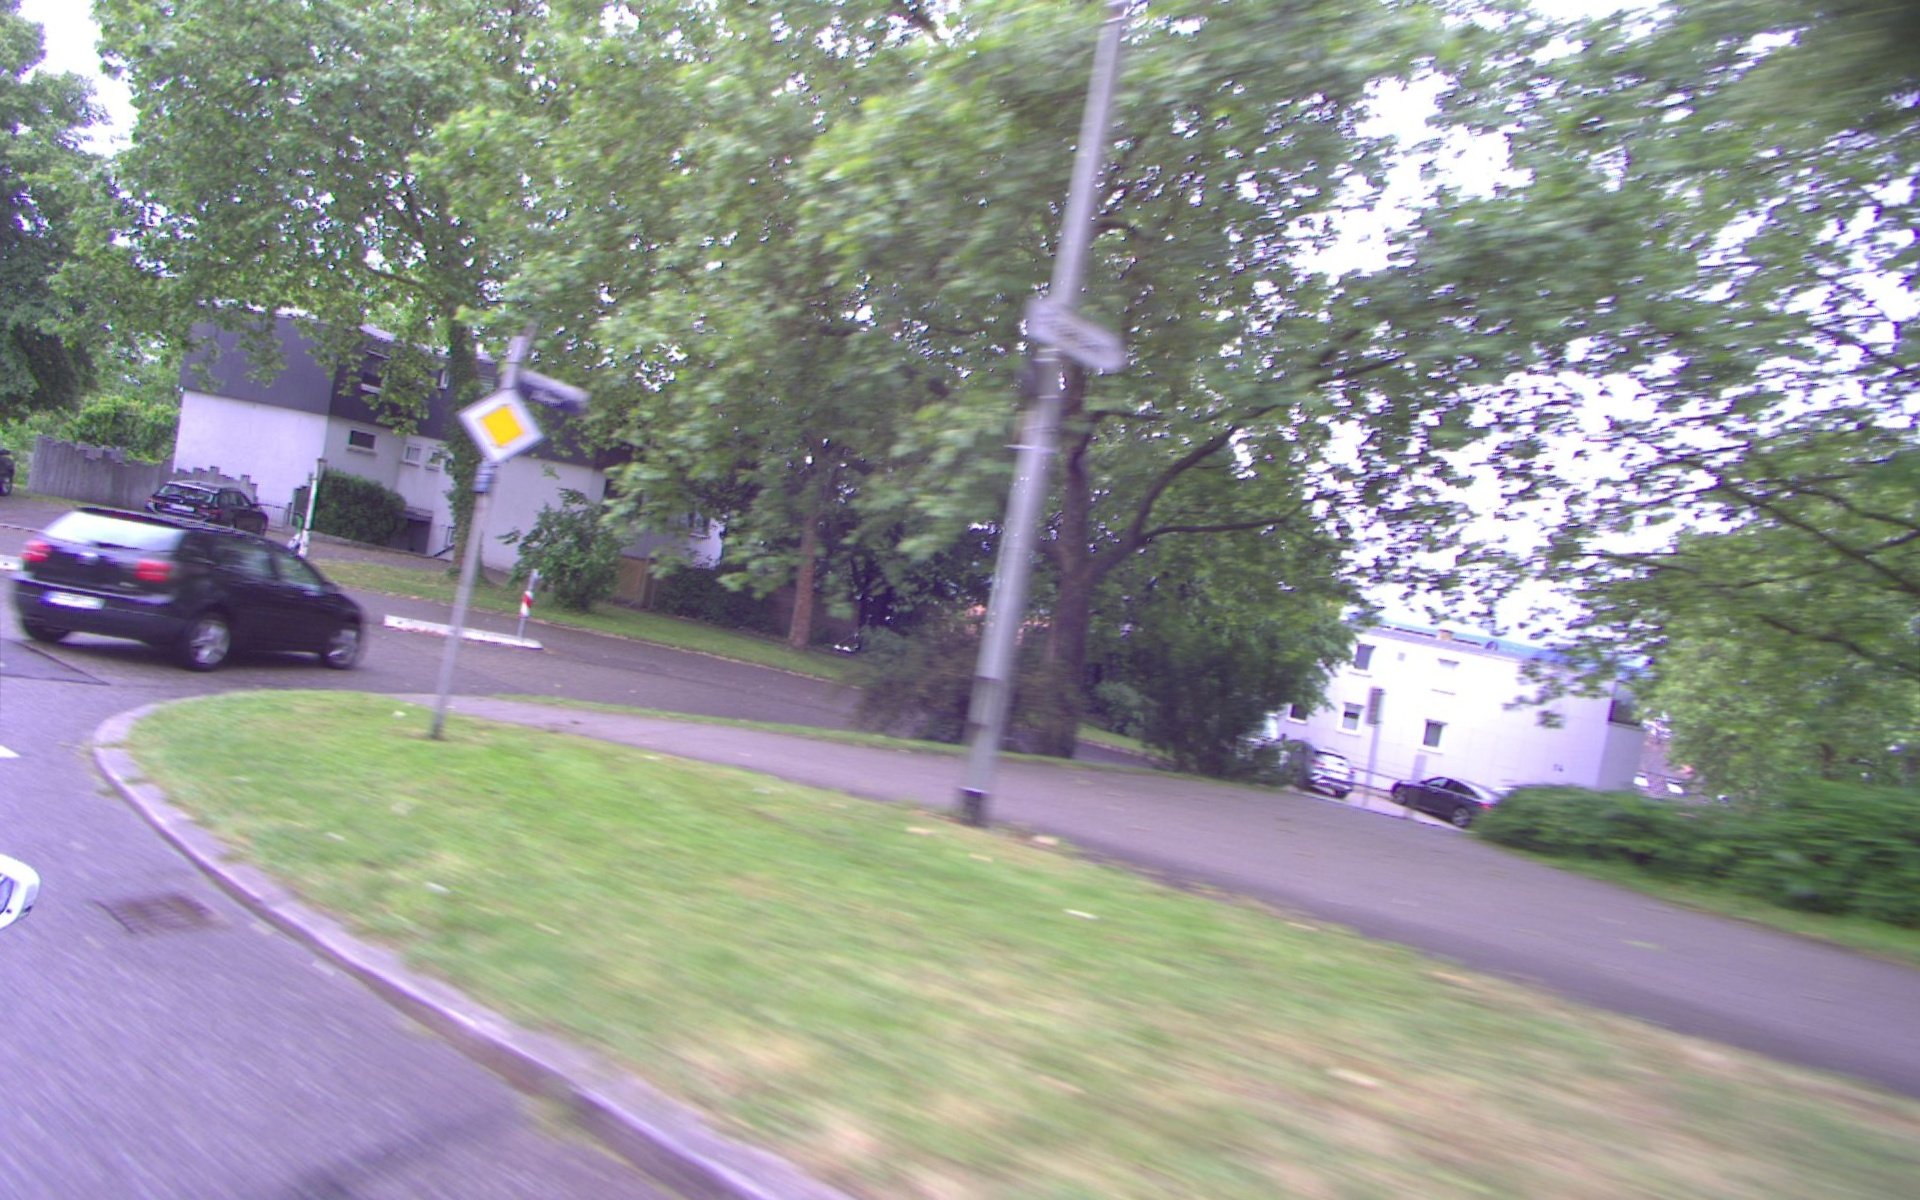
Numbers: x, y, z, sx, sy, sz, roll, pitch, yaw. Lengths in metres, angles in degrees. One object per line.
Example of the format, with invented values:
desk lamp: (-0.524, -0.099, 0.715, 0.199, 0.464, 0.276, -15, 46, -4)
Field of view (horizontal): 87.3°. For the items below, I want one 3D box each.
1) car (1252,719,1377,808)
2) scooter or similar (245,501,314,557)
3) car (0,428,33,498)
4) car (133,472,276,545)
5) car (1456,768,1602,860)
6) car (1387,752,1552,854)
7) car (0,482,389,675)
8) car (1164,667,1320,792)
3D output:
car: (12.171, 5.581, 34.861, 1.916, 1.711, 4.289, 14, 2, -11)
scooter or similar: (-18.428, -1.909, 27.265, 0.552, 1.301, 1.338, 8, 1, 26)
car: (-25.357, -3.605, 25.154, 1.935, 1.709, 4.860, 11, 1, -30)
car: (-20.696, -2.519, 27.790, 1.735, 1.487, 4.539, 12, 1, -21)
car: (20.356, 7.621, 36.239, 2.055, 1.863, 4.289, 11, 3, -10)
car: (17.759, 7.047, 35.394, 2.327, 1.860, 4.689, 14, 2, -16)
car: (-8.405, -0.098, 11.343, 1.698, 1.478, 4.002, 11, -4, -5)
car: (9.479, 4.278, 34.576, 2.320, 2.708, 6.127, 10, 3, -10)
